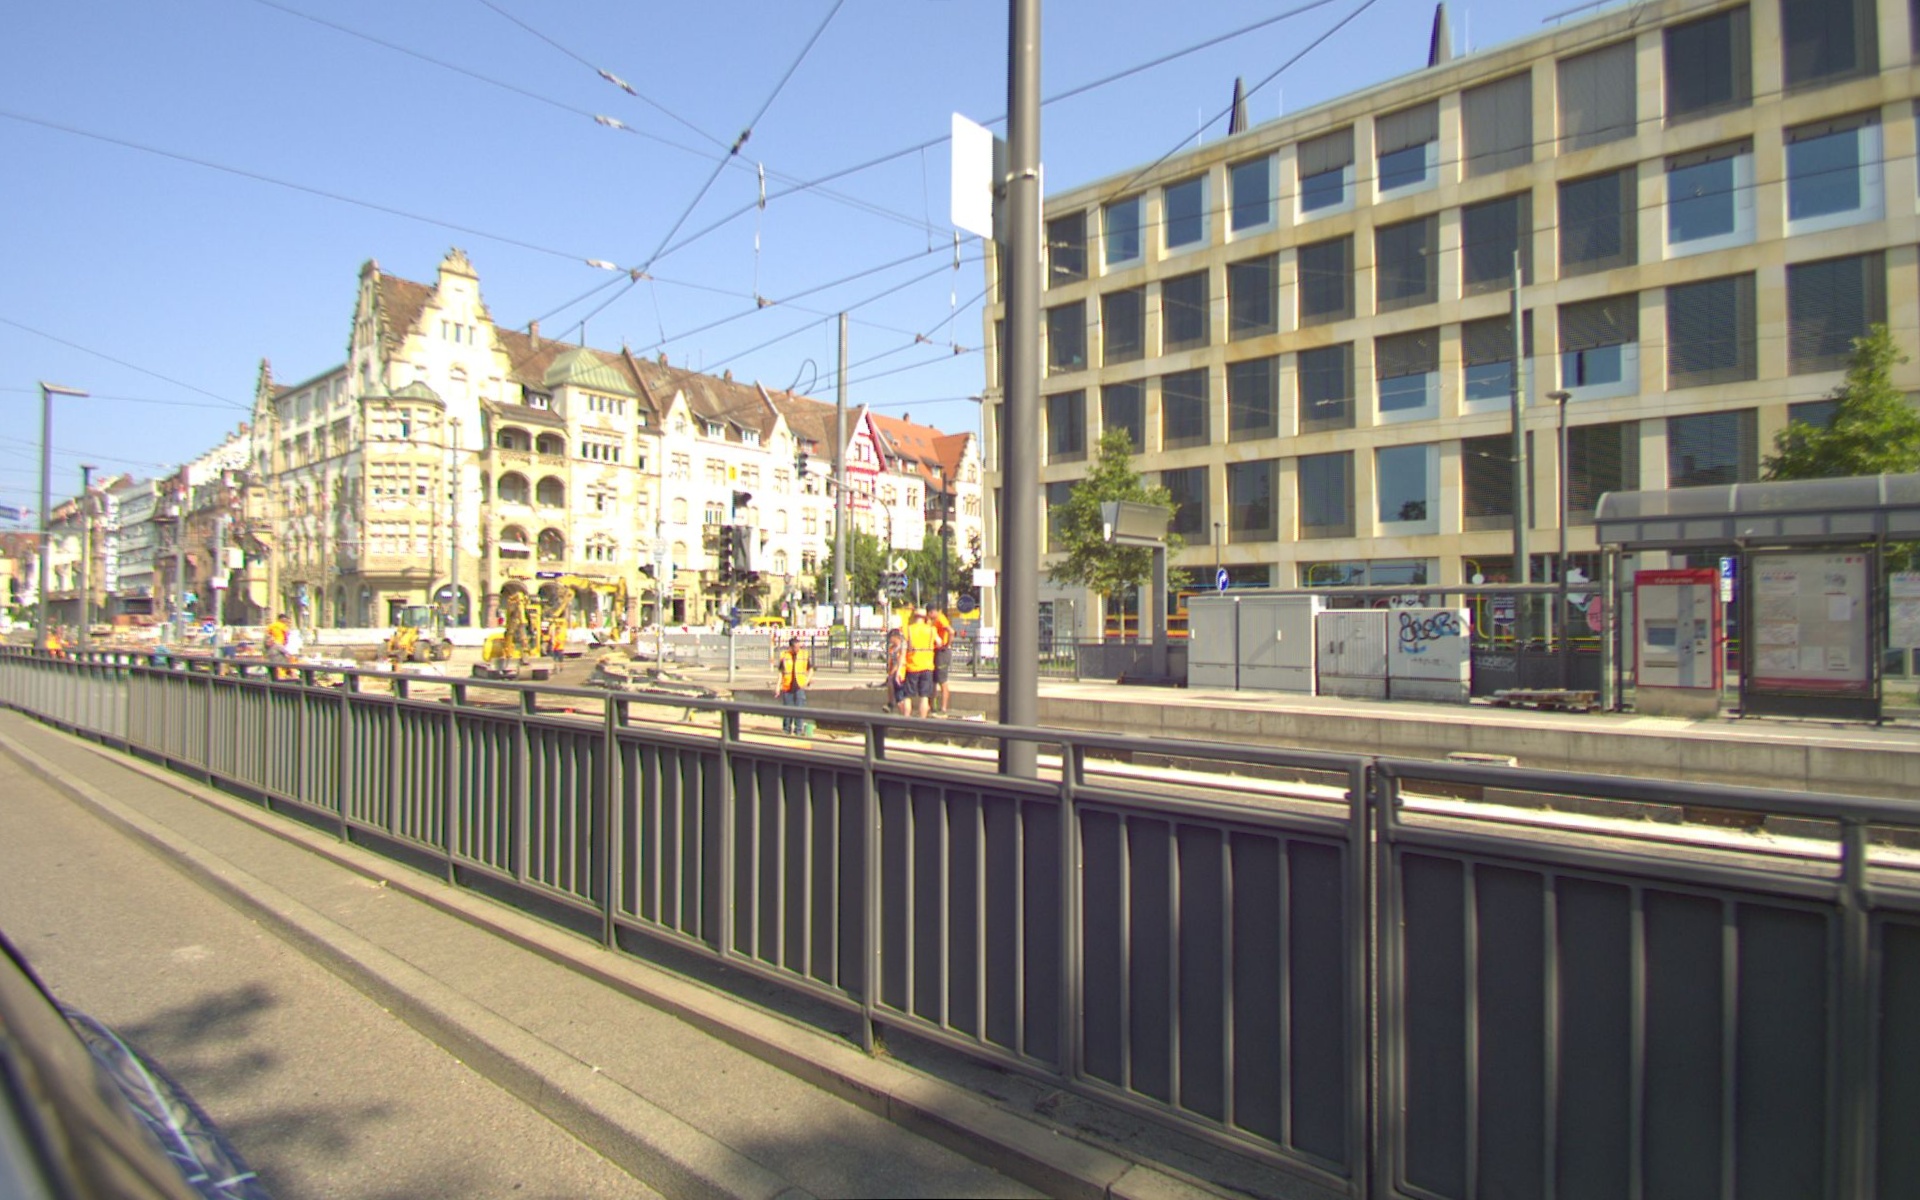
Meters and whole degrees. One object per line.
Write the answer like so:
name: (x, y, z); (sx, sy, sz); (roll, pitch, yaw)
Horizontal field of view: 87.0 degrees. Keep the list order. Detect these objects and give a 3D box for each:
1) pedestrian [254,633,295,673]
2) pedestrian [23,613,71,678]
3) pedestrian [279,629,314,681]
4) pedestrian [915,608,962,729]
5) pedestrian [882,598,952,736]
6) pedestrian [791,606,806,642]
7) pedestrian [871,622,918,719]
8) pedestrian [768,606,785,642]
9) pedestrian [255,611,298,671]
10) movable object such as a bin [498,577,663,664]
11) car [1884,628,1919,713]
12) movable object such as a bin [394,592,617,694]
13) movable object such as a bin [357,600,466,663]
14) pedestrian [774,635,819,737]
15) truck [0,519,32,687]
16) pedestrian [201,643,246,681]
pedestrian: (-17.763, 1.366, 26.218); (0.931, 0.996, 0.507); (-1, -3, 30)
pedestrian: (-22.607, 1.124, 25.053); (0.691, 1.578, 0.752); (-2, -3, 40)
pedestrian: (-20.541, 1.703, 31.320); (0.550, 1.578, 0.700); (0, -2, 9)
pedestrian: (-0.326, 1.052, 15.689); (0.633, 1.830, 0.625); (0, -2, 8)
pedestrian: (-0.637, 0.970, 14.910); (0.713, 1.966, 0.790); (2, -3, -35)
pedestrian: (-9.316, 1.391, 58.300); (0.658, 2.029, 0.831); (1, -2, -26)
pedestrian: (-1.083, 1.160, 16.858); (0.620, 1.566, 0.638); (-1, -2, 14)
pedestrian: (-10.603, 1.403, 58.479); (0.663, 2.080, 0.894); (-1, -1, 17)
pedestrian: (-18.519, 1.107, 27.431); (0.556, 1.578, 0.807); (-2, -3, 40)
movable object such as a bin: (-20.617, 1.121, 54.976); (7.260, 4.380, 4.981); (2, -1, -36)
car: (17.993, 1.181, 16.641); (3.996, 1.414, 1.882); (-1, -3, 40)
movable object such as a bin: (-15.285, 1.239, 33.678); (8.472, 2.980, 3.576); (0, 0, 41)
movable object such as a bin: (-26.318, 1.495, 48.778); (2.417, 2.856, 4.811); (0, -2, 3)
pedestrian: (-2.788, 1.442, 17.194); (0.657, 1.676, 0.774); (1, -2, -16)
truck: (-26.513, 0.158, 24.989); (8.380, 3.942, 2.774); (-1, -1, 29)
pedestrian: (-18.143, 1.524, 24.941); (0.808, 0.933, 0.514); (1, -3, -26)
